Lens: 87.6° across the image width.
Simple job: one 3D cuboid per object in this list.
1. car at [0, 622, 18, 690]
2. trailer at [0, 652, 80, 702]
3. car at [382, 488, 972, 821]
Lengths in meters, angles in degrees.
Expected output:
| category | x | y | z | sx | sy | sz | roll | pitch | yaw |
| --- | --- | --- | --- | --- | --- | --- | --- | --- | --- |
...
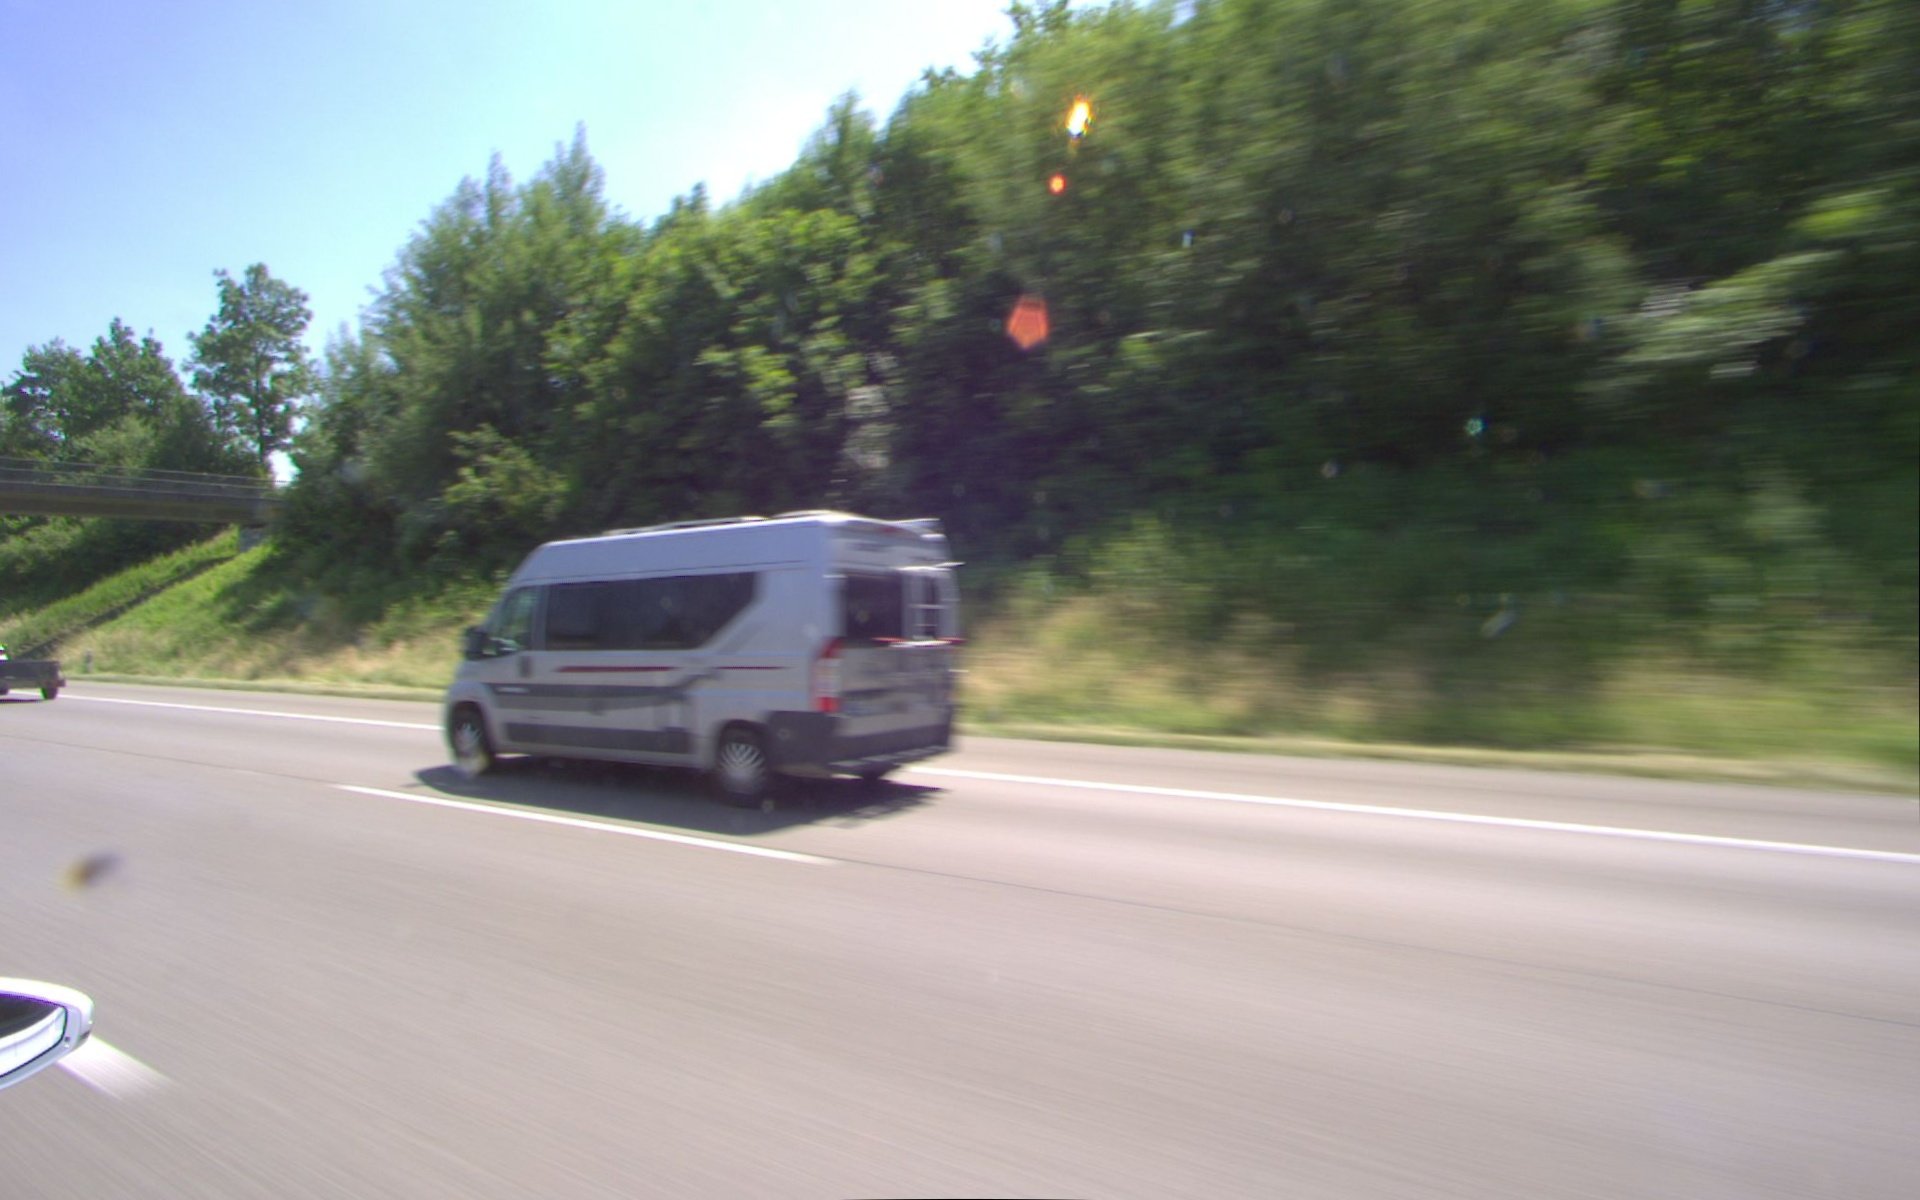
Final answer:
| category | x | y | z | sx | sy | sz | roll | pitch | yaw |
| --- | --- | --- | --- | --- | --- | --- | --- | --- | --- |
| car | -25.810 | 1.369 | 25.397 | 4.339 | 1.672 | 1.778 | 0 | -1 | 32 |
| trailer | -22.193 | 1.739 | 23.067 | 4.257 | 0.920 | 1.751 | 0 | -1 | 32 |
| car | -3.204 | 0.448 | 10.468 | 6.525 | 2.609 | 2.086 | 0 | -1 | 32 |
